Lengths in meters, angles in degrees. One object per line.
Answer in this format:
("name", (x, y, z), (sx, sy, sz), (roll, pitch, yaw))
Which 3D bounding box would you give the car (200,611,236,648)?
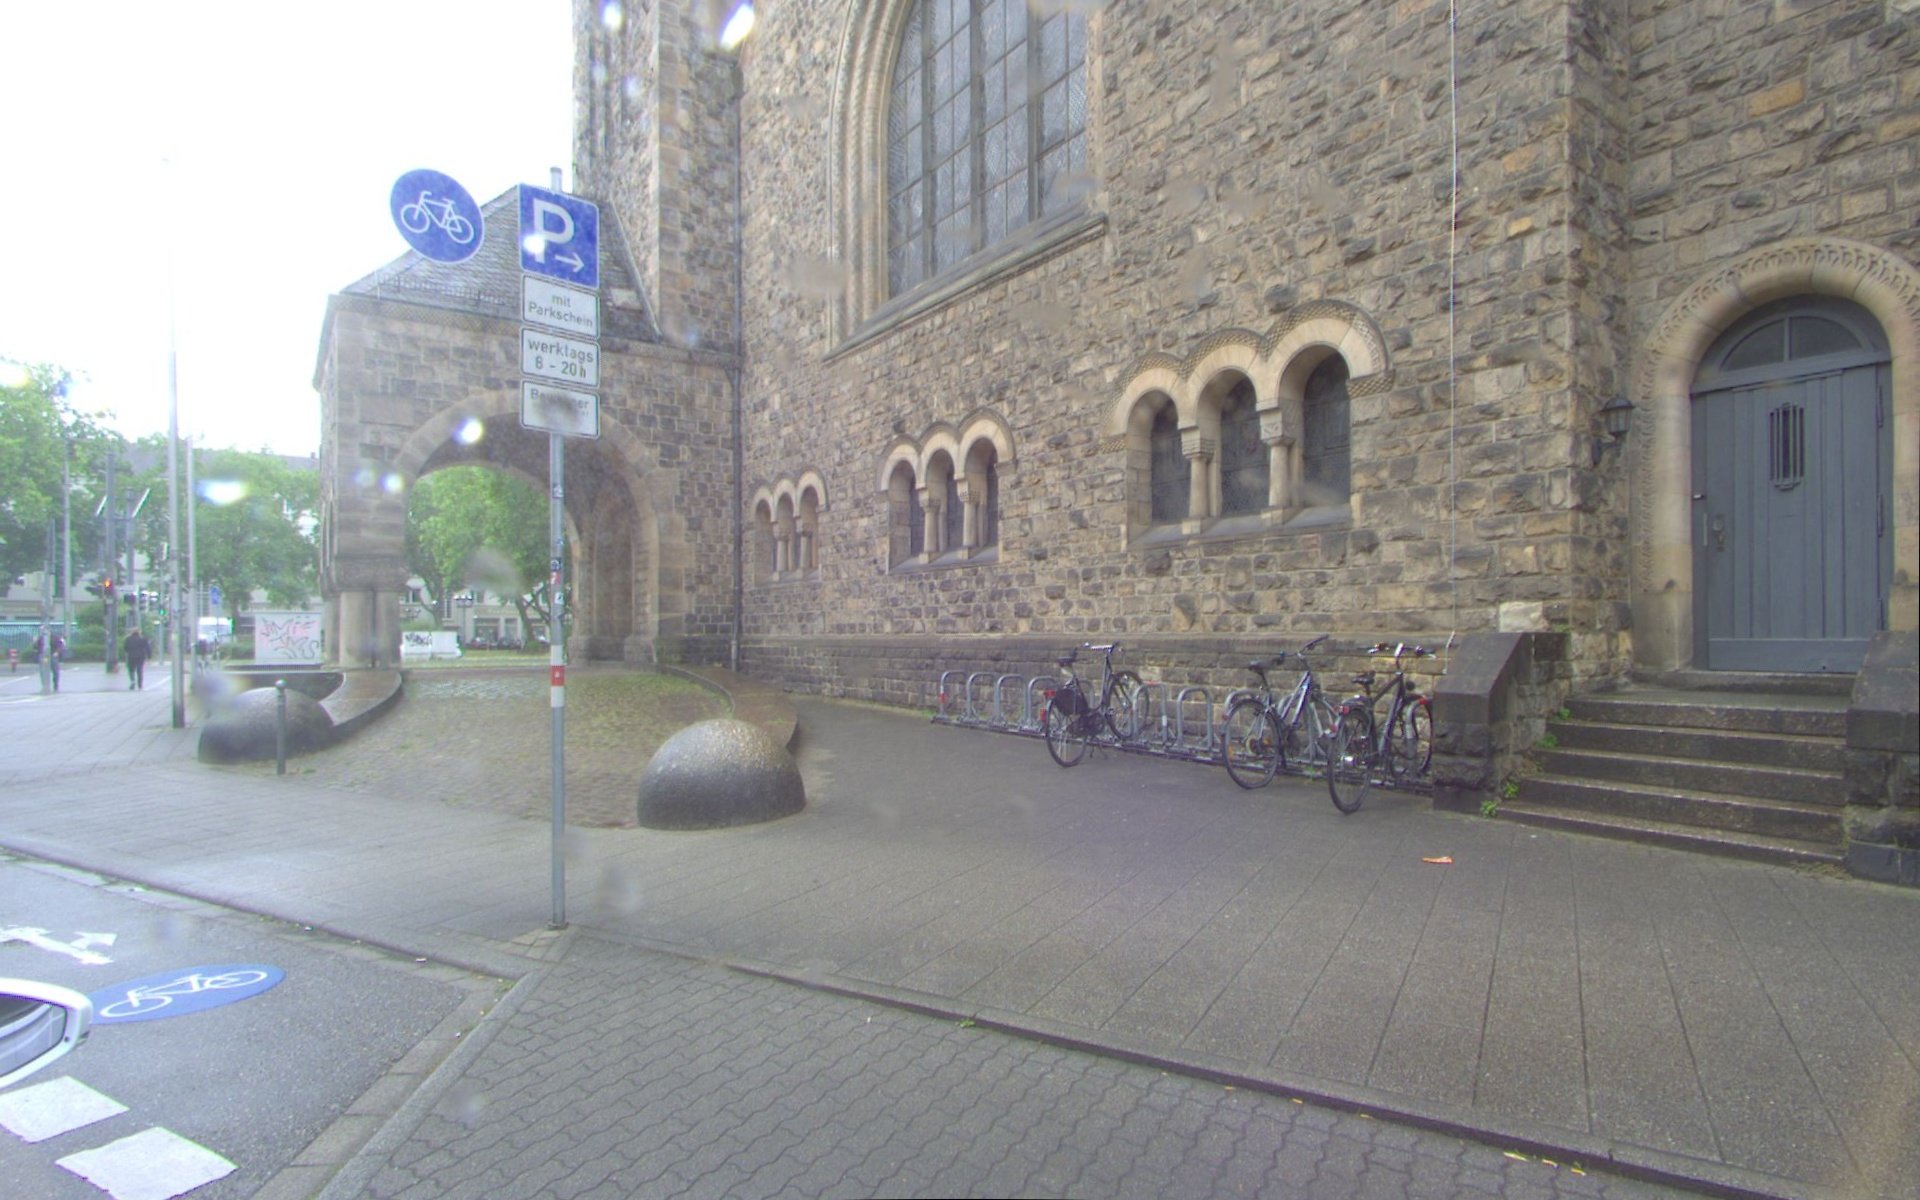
("car", (-53.681, 2.134, 72.515), (1.888, 2.588, 4.757), (0, -1, -34))

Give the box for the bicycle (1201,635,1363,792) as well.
("bicycle", (2.742, 0.889, 8.420), (1.697, 1.126, 0.556), (-2, 0, -45))

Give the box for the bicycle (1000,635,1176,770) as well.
("bicycle", (1.309, 0.949, 9.899), (0.684, 1.119, 1.973), (-1, 0, 43))

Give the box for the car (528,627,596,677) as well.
("car", (-12.692, 1.627, 31.853), (1.389, 1.498, 3.200), (1, -2, -34))

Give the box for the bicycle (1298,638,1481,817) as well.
("bicycle", (3.190, 0.856, 7.325), (1.971, 1.068, 0.507), (-2, 0, -45))

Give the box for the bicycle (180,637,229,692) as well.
("bicycle", (-16.604, 1.394, 21.995), (2.049, 1.169, 0.327), (-1, -1, 38))

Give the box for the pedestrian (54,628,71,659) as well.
("pedestrian", (-46.325, 2.245, 51.681), (0.607, 1.624, 0.491), (0, -1, -34))

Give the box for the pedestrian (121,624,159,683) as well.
("pedestrian", (-23.716, 1.534, 28.961), (0.775, 1.667, 0.651), (0, 0, -34))

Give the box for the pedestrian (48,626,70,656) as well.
("pedestrian", (-47.186, 2.152, 52.437), (0.666, 1.573, 0.758), (0, -2, -30))

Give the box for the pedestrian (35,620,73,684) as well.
("pedestrian", (-25.803, 1.456, 28.514), (0.780, 1.782, 0.936), (0, 0, -43))
